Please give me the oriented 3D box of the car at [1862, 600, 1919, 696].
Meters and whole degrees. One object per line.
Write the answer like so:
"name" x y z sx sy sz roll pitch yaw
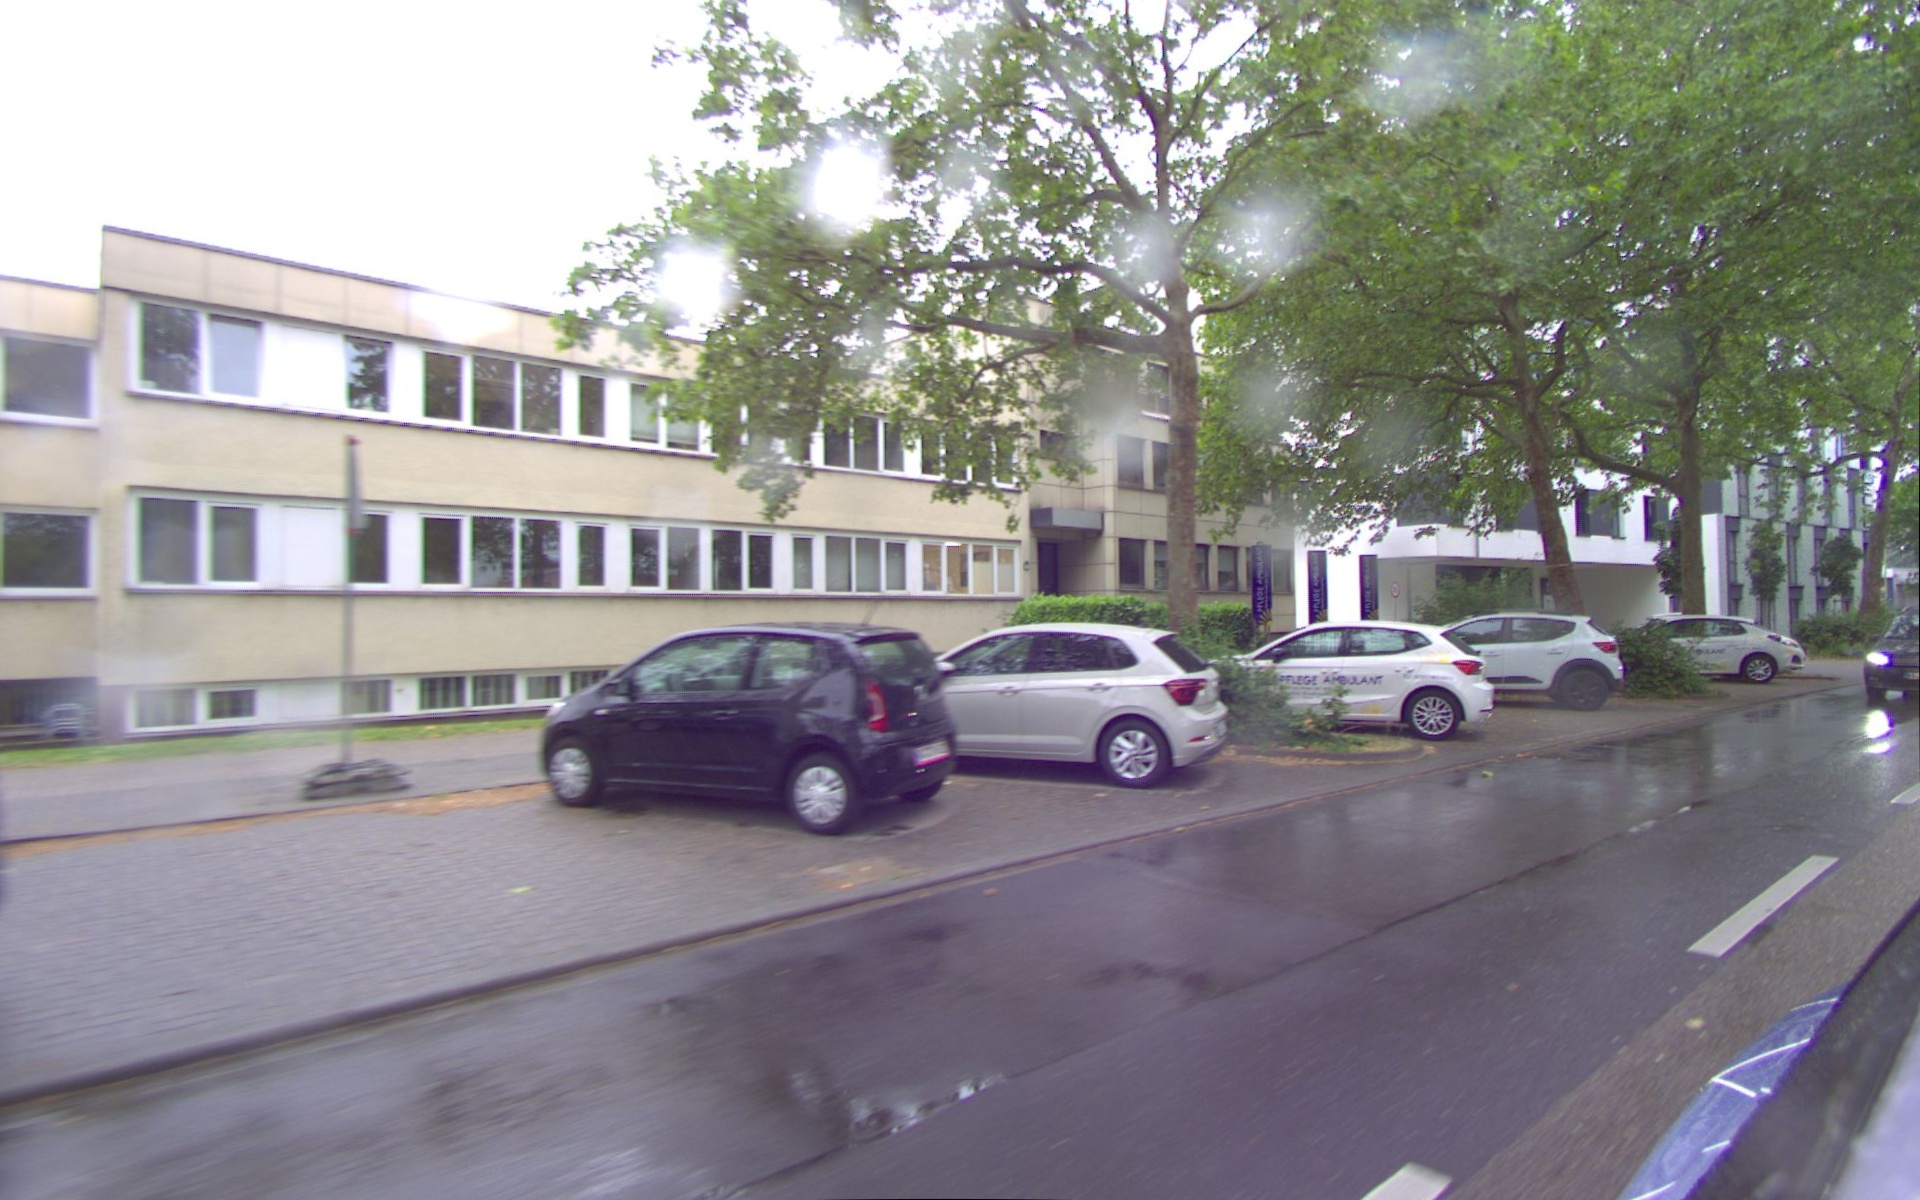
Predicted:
"car" 18.563 0.797 18.677 5.489 1.615 1.997 0 -2 -39

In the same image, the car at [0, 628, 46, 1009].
"car" -6.037 0.875 4.301 4.451 1.477 1.733 -1 -1 27

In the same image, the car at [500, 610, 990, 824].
"car" -1.758 0.822 8.354 3.650 1.434 1.735 -1 -1 23

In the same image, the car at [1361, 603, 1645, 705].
"car" 8.928 0.858 17.058 3.990 1.559 1.736 -1 -1 22

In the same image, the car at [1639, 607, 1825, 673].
"car" 19.386 0.966 25.539 3.628 1.524 1.724 0 -2 39

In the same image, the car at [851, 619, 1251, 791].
"car" 0.927 0.931 10.134 3.650 1.434 1.762 -1 -1 23

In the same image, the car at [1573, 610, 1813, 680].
"car" 16.136 0.957 22.547 3.993 1.446 1.735 -1 -1 24

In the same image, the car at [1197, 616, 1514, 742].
"car" 5.148 0.947 13.328 3.656 1.434 1.733 -1 -1 27

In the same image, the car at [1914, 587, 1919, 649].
"car" 34.270 0.570 33.861 5.419 2.054 2.129 0 -1 -32
